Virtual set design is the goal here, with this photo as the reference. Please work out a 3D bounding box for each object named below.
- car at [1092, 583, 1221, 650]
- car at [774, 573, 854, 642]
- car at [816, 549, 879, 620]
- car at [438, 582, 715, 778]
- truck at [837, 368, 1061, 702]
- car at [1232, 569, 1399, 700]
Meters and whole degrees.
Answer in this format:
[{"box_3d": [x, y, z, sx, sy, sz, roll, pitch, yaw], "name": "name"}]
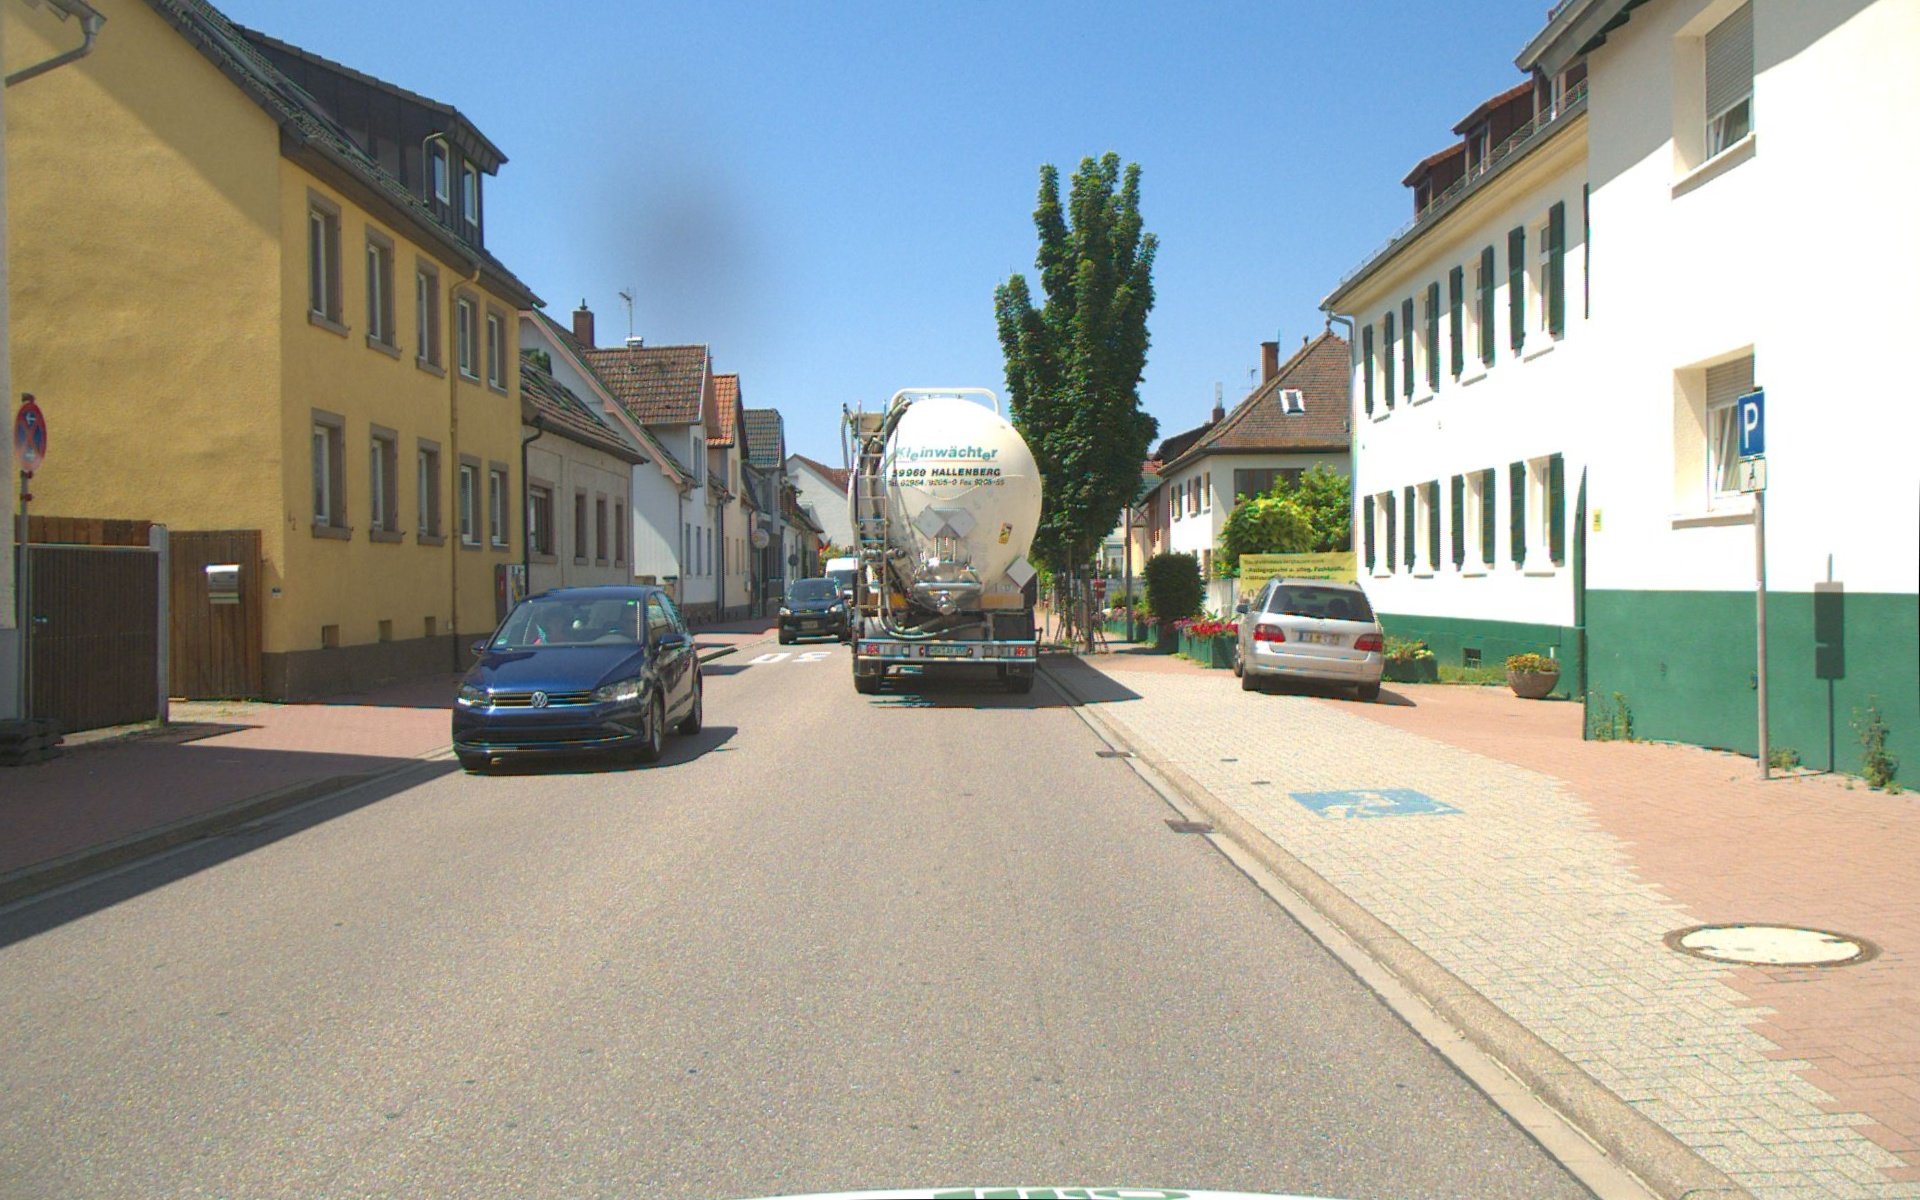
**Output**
[{"box_3d": [6.800, 0.556, 57.541, 4.089, 1.613, 1.907, 10, 0, 0], "name": "car"}, {"box_3d": [-3.891, 0.172, 44.599, 1.802, 1.699, 4.322, -2, 1, -1], "name": "car"}, {"box_3d": [-4.197, -0.591, 62.602, 2.027, 2.498, 6.006, -2, 1, -2], "name": "car"}, {"box_3d": [-3.491, 0.644, 15.799, 1.729, 1.563, 4.077, -2, 1, -1], "name": "car"}, {"box_3d": [-0.262, -0.786, 24.216, 2.677, 4.029, 8.138, 1, 0, -2], "name": "truck"}, {"box_3d": [4.769, 0.383, 22.796, 1.777, 1.488, 4.889, 4, 1, 7], "name": "car"}]
